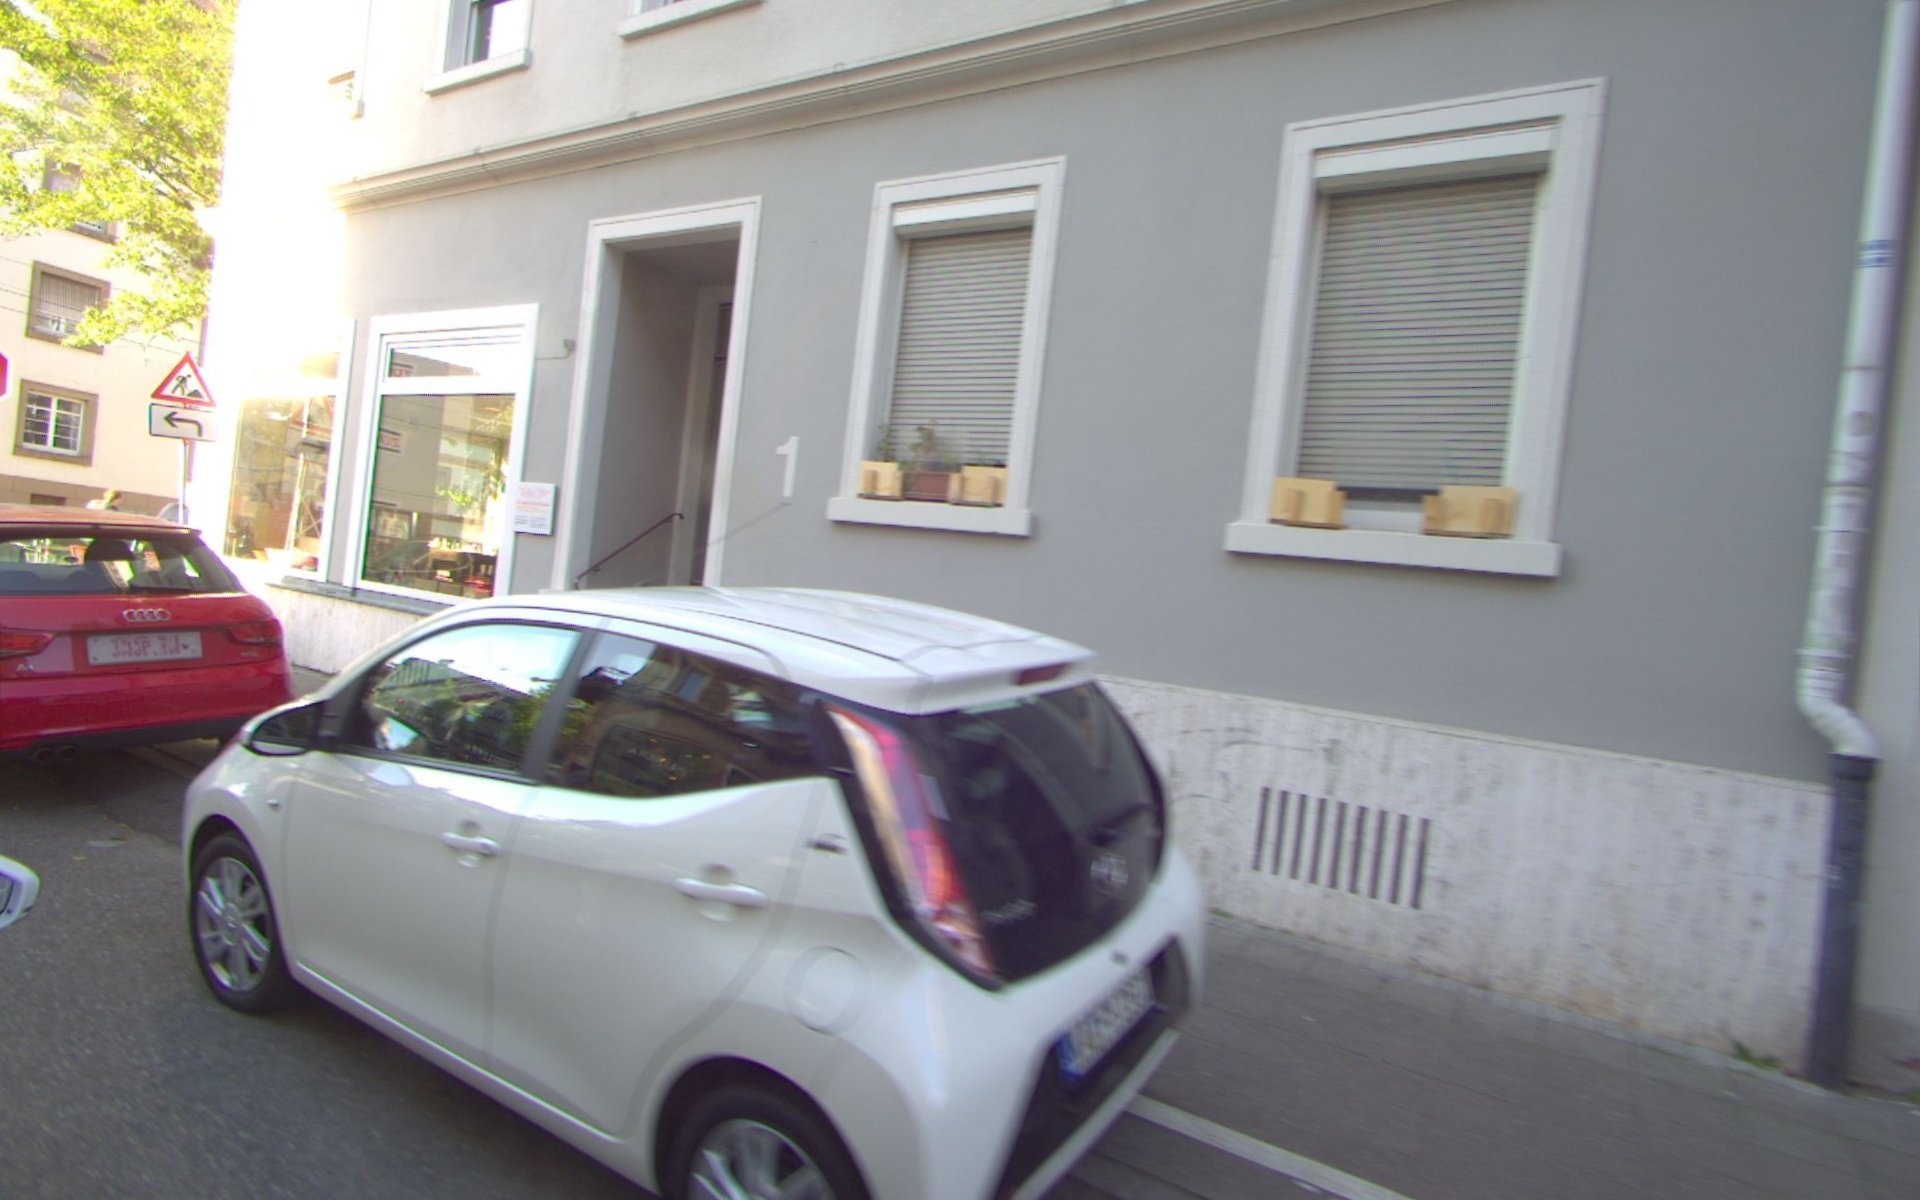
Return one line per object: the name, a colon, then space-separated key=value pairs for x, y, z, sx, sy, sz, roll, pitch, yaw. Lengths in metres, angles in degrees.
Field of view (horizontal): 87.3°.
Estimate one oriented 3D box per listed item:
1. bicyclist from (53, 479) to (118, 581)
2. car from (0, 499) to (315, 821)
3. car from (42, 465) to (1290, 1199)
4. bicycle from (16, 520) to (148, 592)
bicyclist: x=-15.516 y=-1.228 z=17.864 sx=0.647 sy=1.708 sz=0.539 roll=7 pitch=-1 yaw=-34
car: x=-5.951 y=0.141 z=6.160 sx=3.888 sy=1.520 sz=1.649 roll=7 pitch=-1 yaw=30
car: x=-1.091 y=0.598 z=3.281 sx=3.724 sy=1.605 sz=1.640 roll=7 pitch=-1 yaw=30
bicycle: x=-15.552 y=-0.764 z=17.871 sx=1.613 sy=1.028 sz=0.548 roll=8 pitch=-1 yaw=-33
